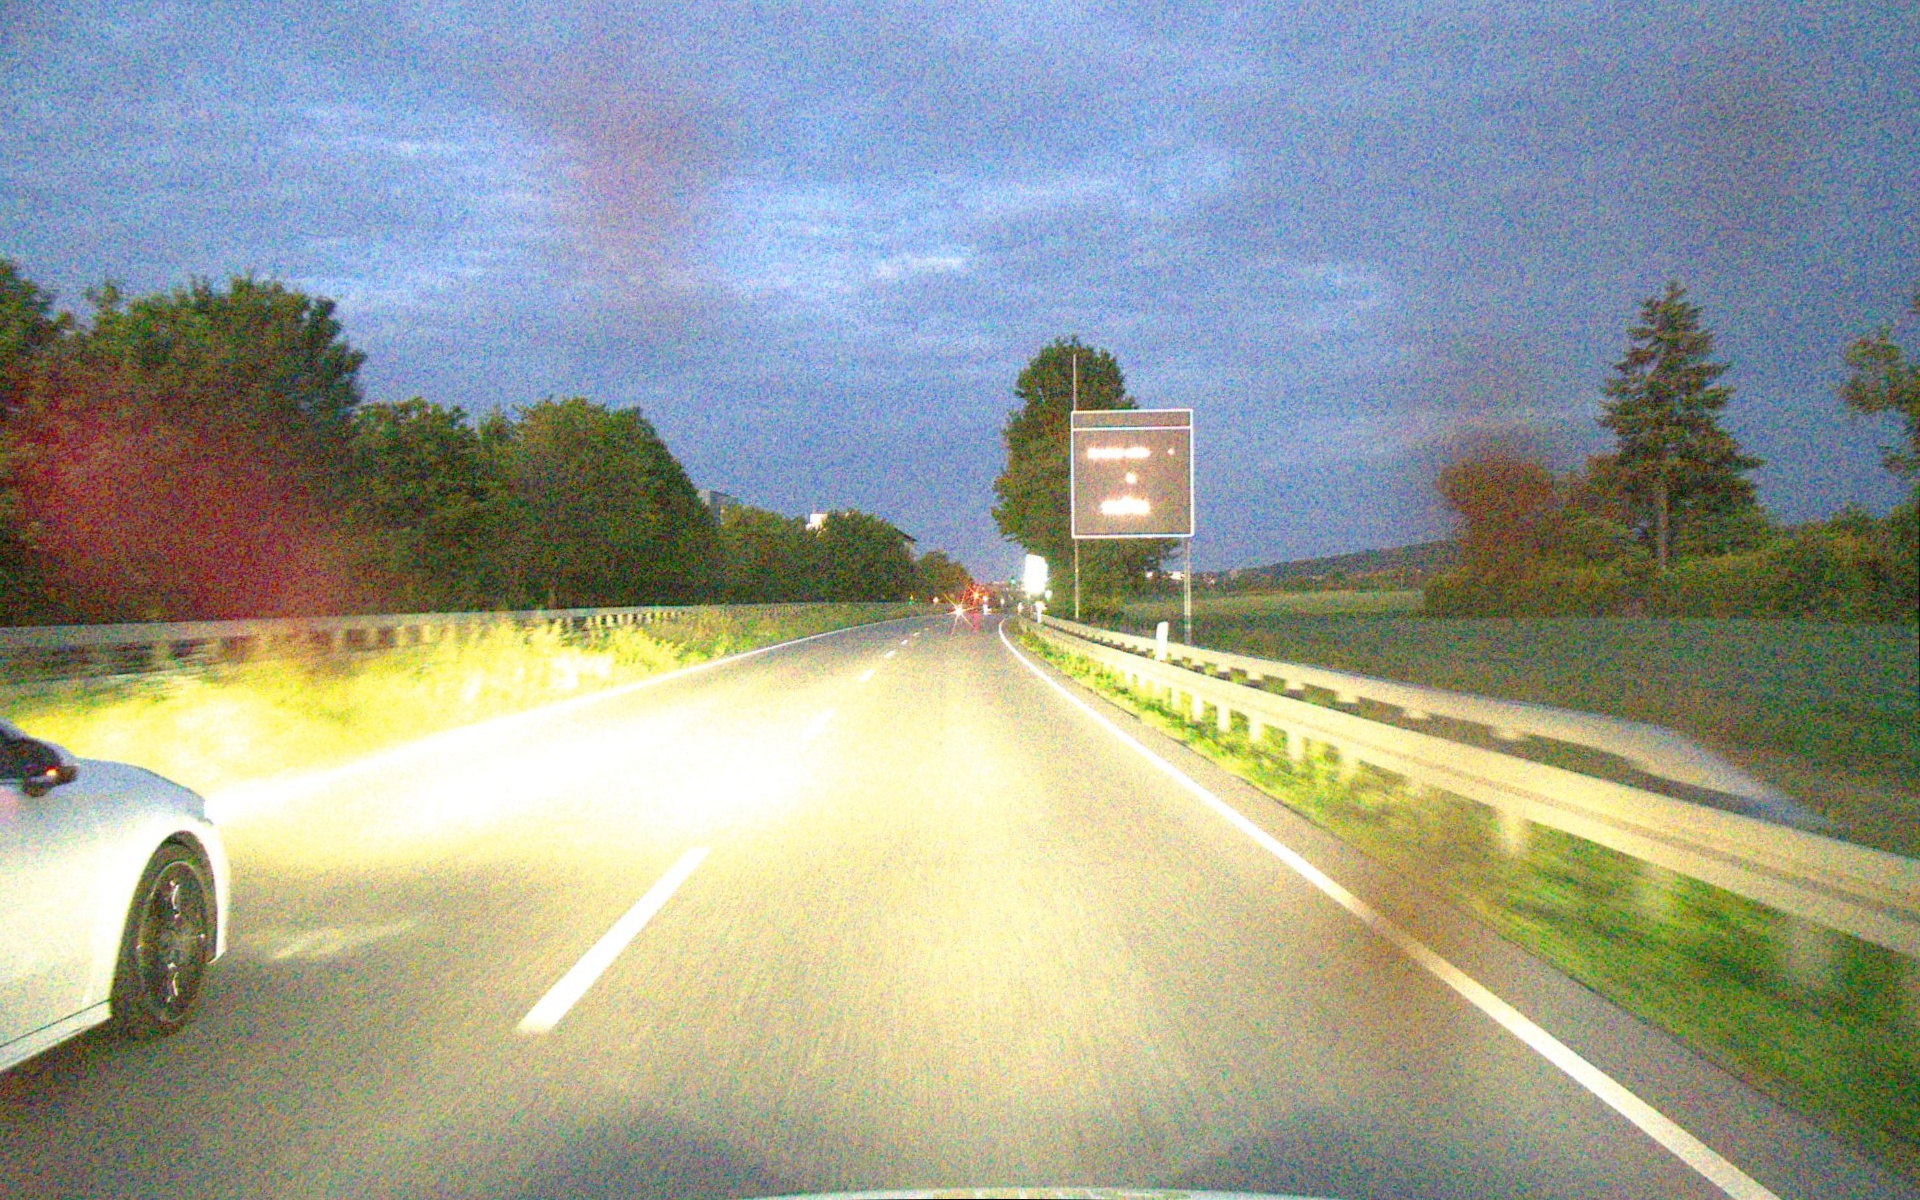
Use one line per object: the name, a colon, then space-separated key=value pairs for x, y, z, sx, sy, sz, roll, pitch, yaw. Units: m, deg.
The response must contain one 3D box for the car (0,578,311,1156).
car: x=-3.308 y=0.689 z=4.198 sx=1.609 sy=1.516 sz=4.578 roll=1 pitch=0 yaw=-2
